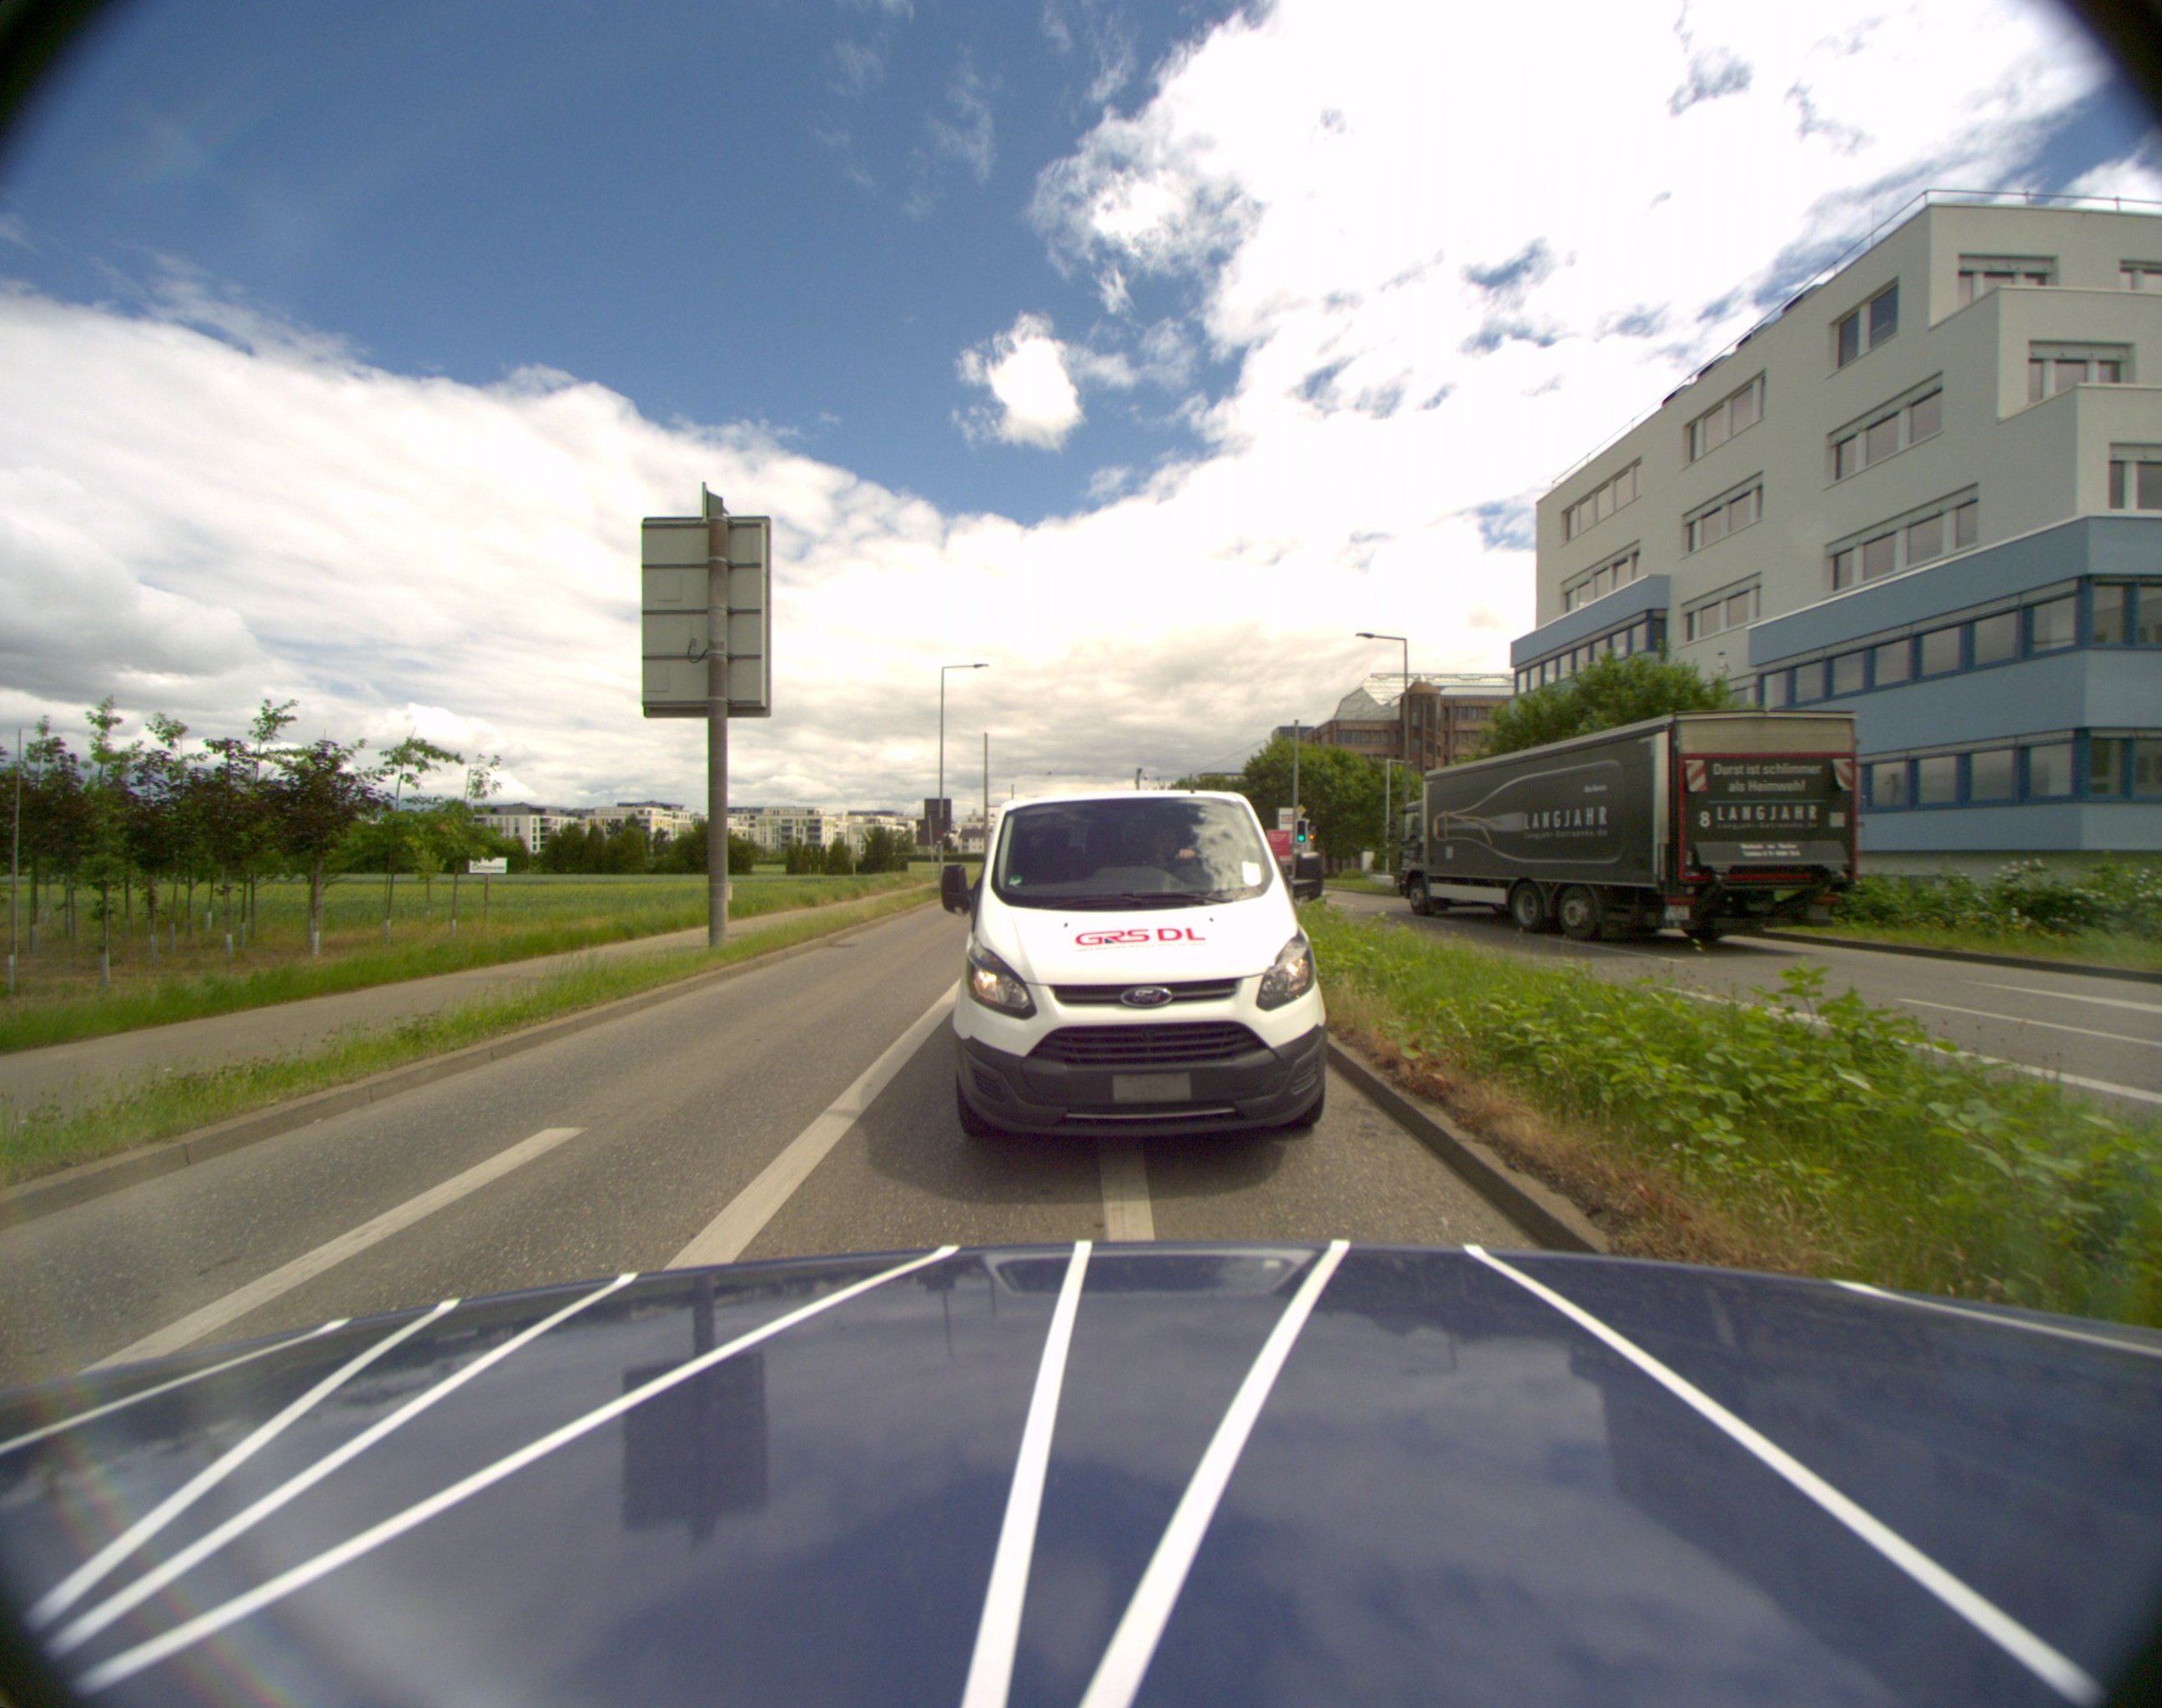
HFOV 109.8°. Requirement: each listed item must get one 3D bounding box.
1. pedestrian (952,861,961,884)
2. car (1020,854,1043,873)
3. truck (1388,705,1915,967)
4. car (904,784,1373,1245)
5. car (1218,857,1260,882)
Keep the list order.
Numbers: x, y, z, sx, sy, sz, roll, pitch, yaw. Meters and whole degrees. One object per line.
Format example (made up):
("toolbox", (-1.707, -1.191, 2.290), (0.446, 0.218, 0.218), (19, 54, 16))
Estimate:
("pedestrian", (-9.303, 1.365, 56.840), (0.492, 1.693, 0.626), (-2, 1, -1))
("car", (-4.042, 0.762, 62.887), (1.683, 1.410, 3.739), (-1, 1, -1))
("truck", (9.693, -0.211, 15.103), (3.176, 3.497, 9.526), (-1, 0, -1))
("car", (0.282, 0.693, 5.798), (1.968, 1.938, 5.055), (-2, 0, 1))
("car", (8.946, 0.845, 43.295), (1.558, 1.375, 3.779), (-1, 0, -1))
